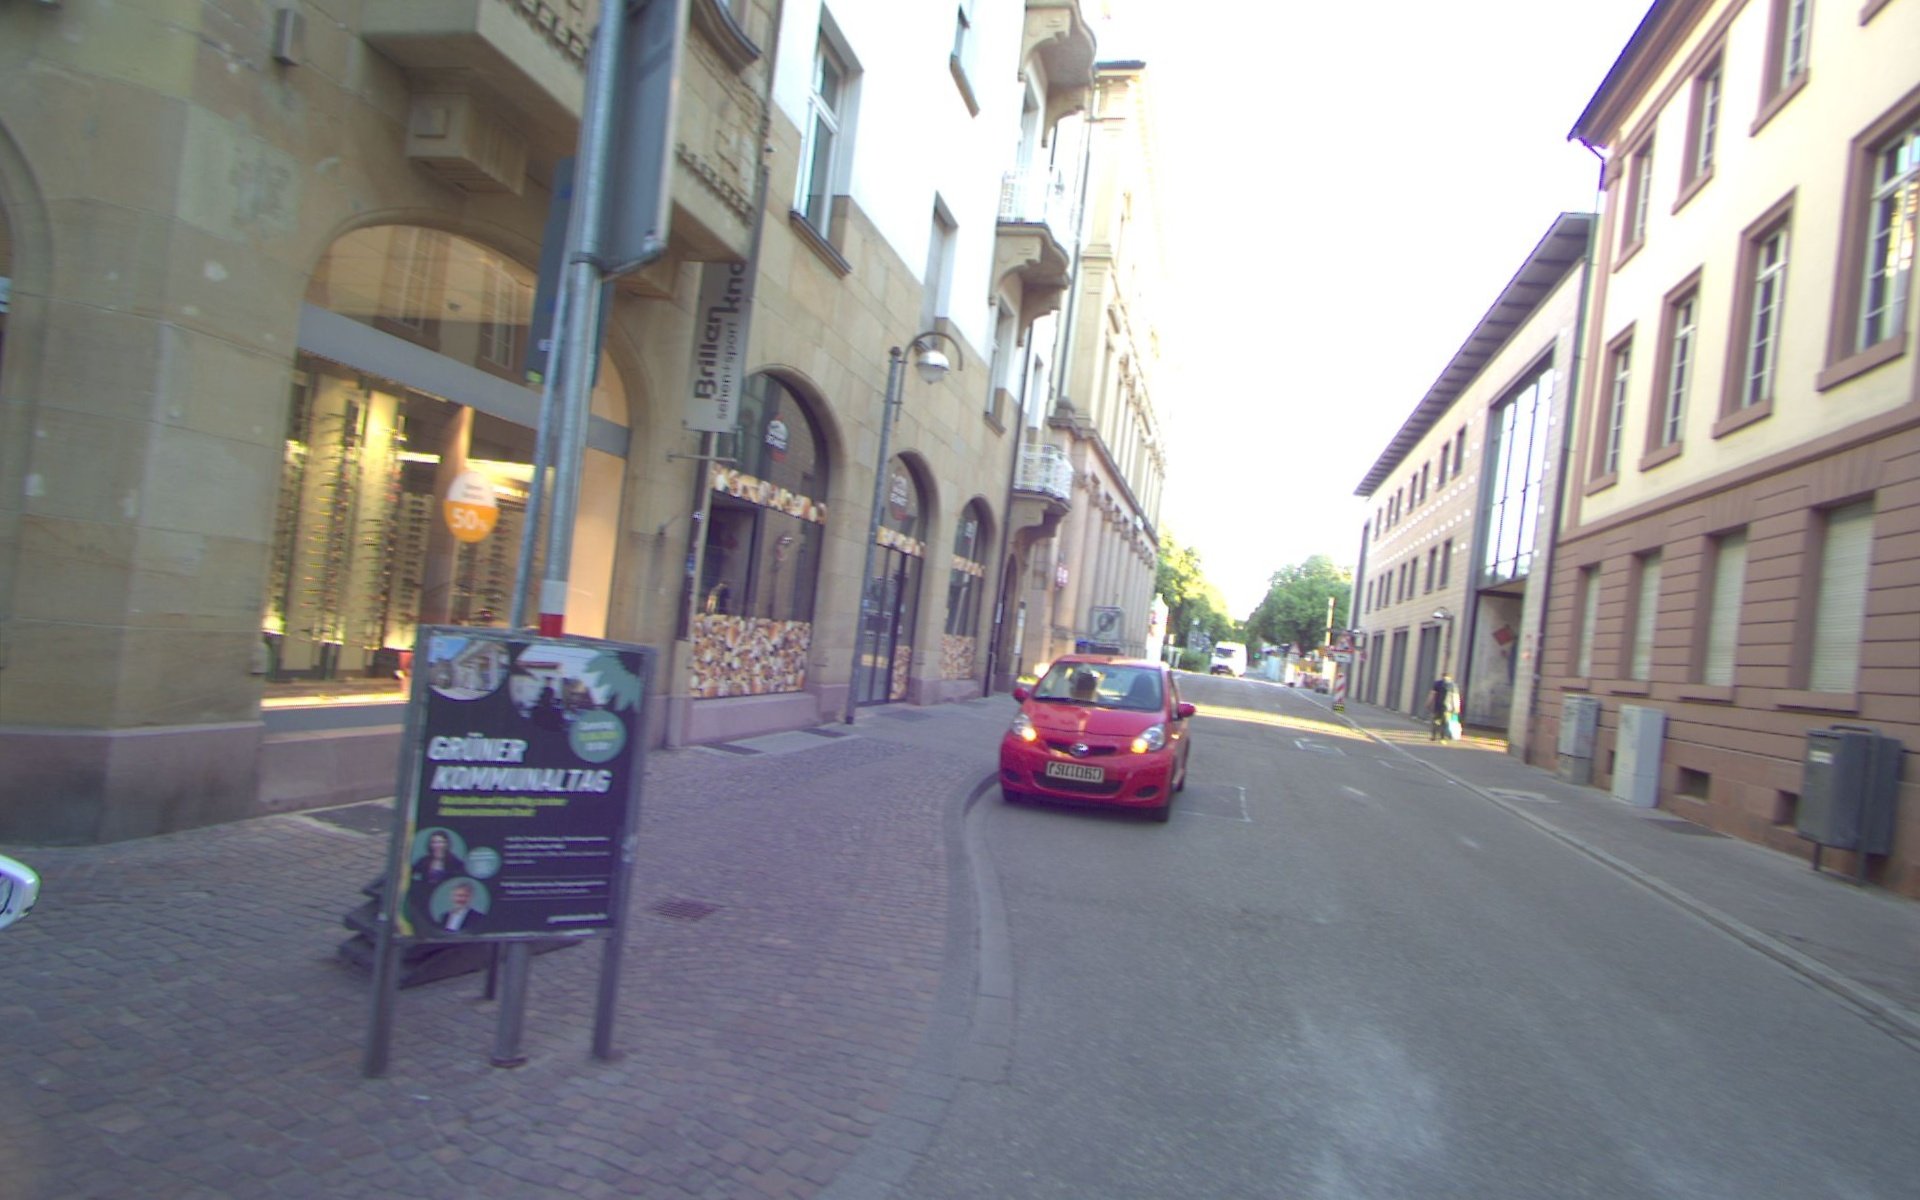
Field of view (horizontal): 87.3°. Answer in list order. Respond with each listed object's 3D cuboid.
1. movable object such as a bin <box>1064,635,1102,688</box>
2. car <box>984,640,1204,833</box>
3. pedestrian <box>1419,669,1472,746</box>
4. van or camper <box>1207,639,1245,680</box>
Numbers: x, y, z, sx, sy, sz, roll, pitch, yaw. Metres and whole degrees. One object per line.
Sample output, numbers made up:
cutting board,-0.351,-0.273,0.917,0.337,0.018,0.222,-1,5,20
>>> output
movable object such as a bin,3.838,1.901,31.370,0.816,1.521,1.292,8,0,16
car,1.591,1.265,10.564,1.631,1.487,3.935,4,-2,16
pedestrian,12.222,2.685,25.343,0.985,1.824,0.882,3,-2,15
van or camper,19.666,4.355,74.193,2.184,2.616,6.375,7,-1,18
